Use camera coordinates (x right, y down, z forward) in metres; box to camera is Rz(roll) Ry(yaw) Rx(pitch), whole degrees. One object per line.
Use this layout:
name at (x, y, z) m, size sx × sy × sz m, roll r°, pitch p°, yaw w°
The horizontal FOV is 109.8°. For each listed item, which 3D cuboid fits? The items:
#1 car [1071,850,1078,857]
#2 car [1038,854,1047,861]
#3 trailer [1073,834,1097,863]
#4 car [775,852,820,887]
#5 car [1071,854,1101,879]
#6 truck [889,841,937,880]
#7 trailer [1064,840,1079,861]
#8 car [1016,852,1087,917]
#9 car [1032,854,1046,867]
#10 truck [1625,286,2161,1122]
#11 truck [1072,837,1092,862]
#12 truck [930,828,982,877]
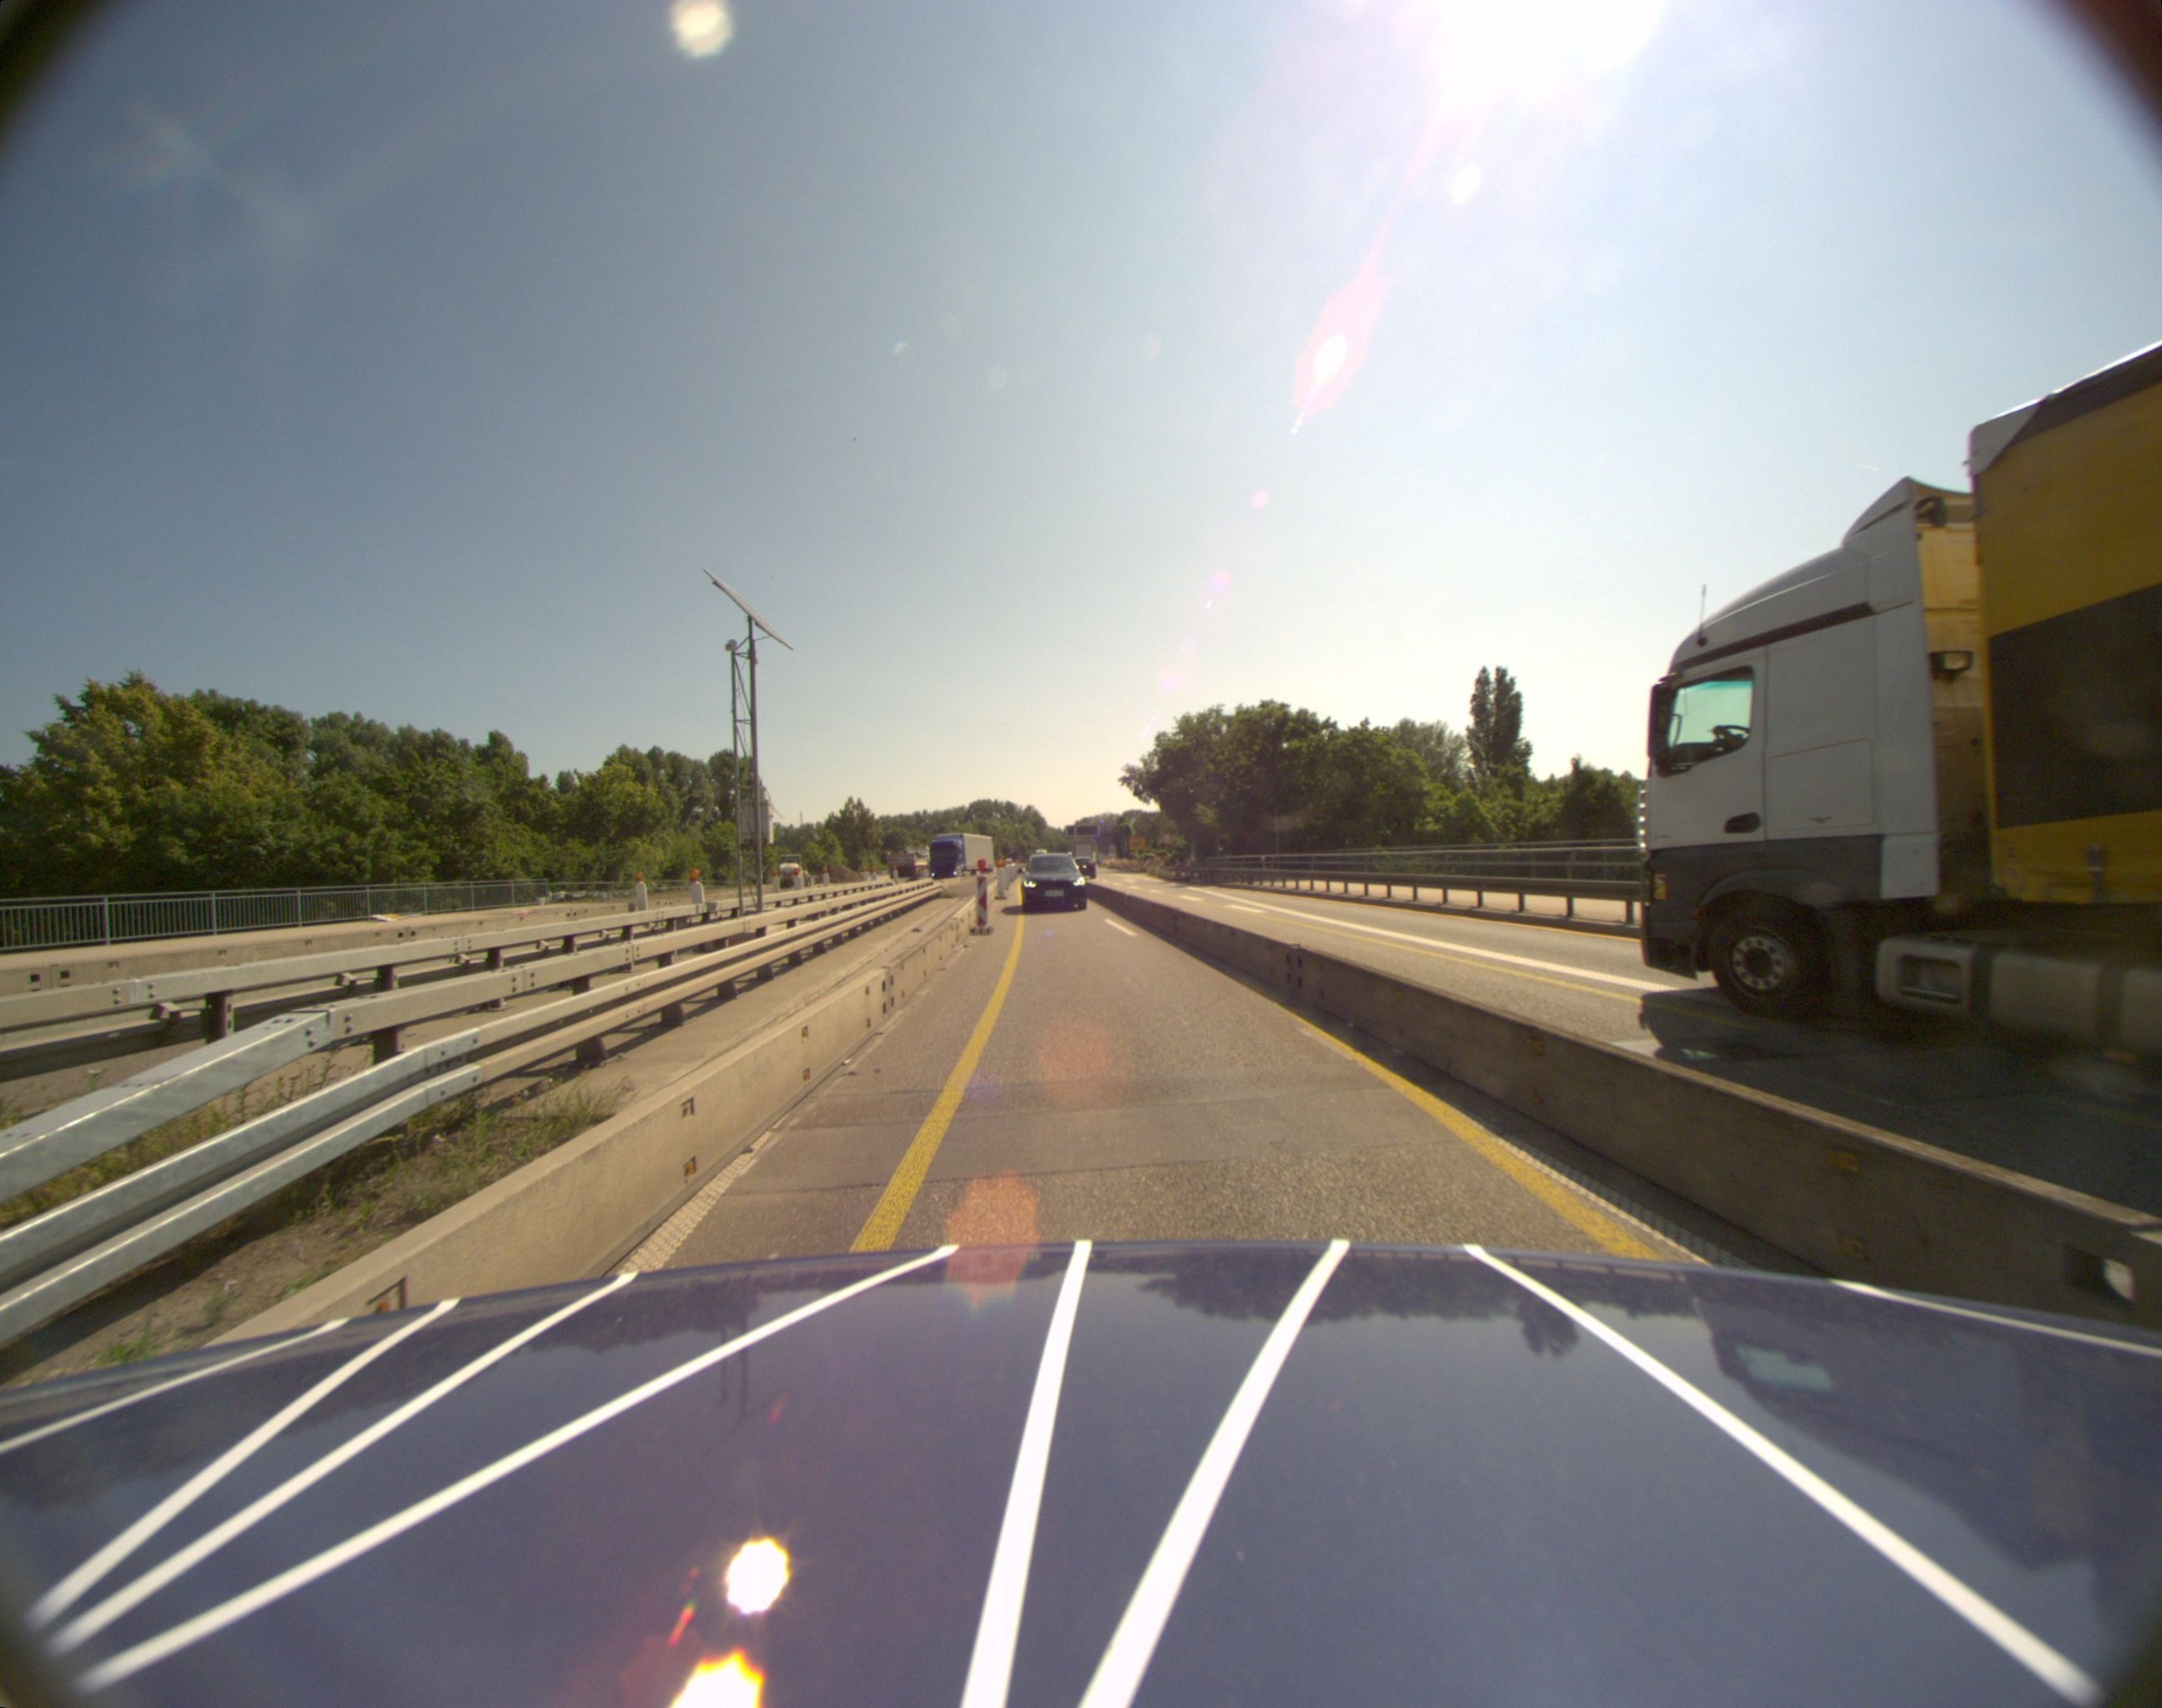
car at (-2.069, -0.082, 237.047) m, size 1.998 × 2.002 × 4.000 m, roll -1°, pitch 0°, yaw 2°
car at (-8.645, 0.746, 170.504) m, size 1.747 × 1.621 × 4.092 m, roll -1°, pitch 0°, yaw 0°
trailer at (0.512, -0.788, 115.684) m, size 2.811 × 4.019 × 13.464 m, roll -1°, pitch 0°, yaw -3°
car at (-22.719, 1.184, 61.102) m, size 2.111 × 2.627 × 5.980 m, roll -2°, pitch 0°, yaw -9°
car at (0.324, 0.857, 54.885) m, size 1.868 × 1.622 × 4.564 m, roll -2°, pitch 0°, yaw -3°
truck at (-16.059, 0.573, 73.378) m, size 2.606 × 3.413 × 8.733 m, roll -1°, pitch 0°, yaw 0°
trailer at (-2.009, -0.750, 159.618) m, size 2.627 × 4.103 × 14.063 m, roll -1°, pitch 0°, yaw -2°
car at (-0.789, 0.835, 23.224) m, size 1.789 × 1.651 × 4.486 m, roll -4°, pitch 1°, yaw 1°
car at (-5.834, 0.894, 106.182) m, size 1.747 × 1.621 × 4.091 m, roll -1°, pitch 0°, yaw -2°
truck at (6.698, -0.754, 4.018) m, size 2.757 × 4.112 × 6.413 m, roll -2°, pitch 1°, yaw -3°
truck at (0.194, -0.712, 121.957) m, size 2.823 × 3.967 × 5.983 m, roll -1°, pitch 0°, yaw -3°
truck at (-10.808, -0.117, 66.733) m, size 2.860 × 3.962 × 8.665 m, roll -1°, pitch 0°, yaw 1°
